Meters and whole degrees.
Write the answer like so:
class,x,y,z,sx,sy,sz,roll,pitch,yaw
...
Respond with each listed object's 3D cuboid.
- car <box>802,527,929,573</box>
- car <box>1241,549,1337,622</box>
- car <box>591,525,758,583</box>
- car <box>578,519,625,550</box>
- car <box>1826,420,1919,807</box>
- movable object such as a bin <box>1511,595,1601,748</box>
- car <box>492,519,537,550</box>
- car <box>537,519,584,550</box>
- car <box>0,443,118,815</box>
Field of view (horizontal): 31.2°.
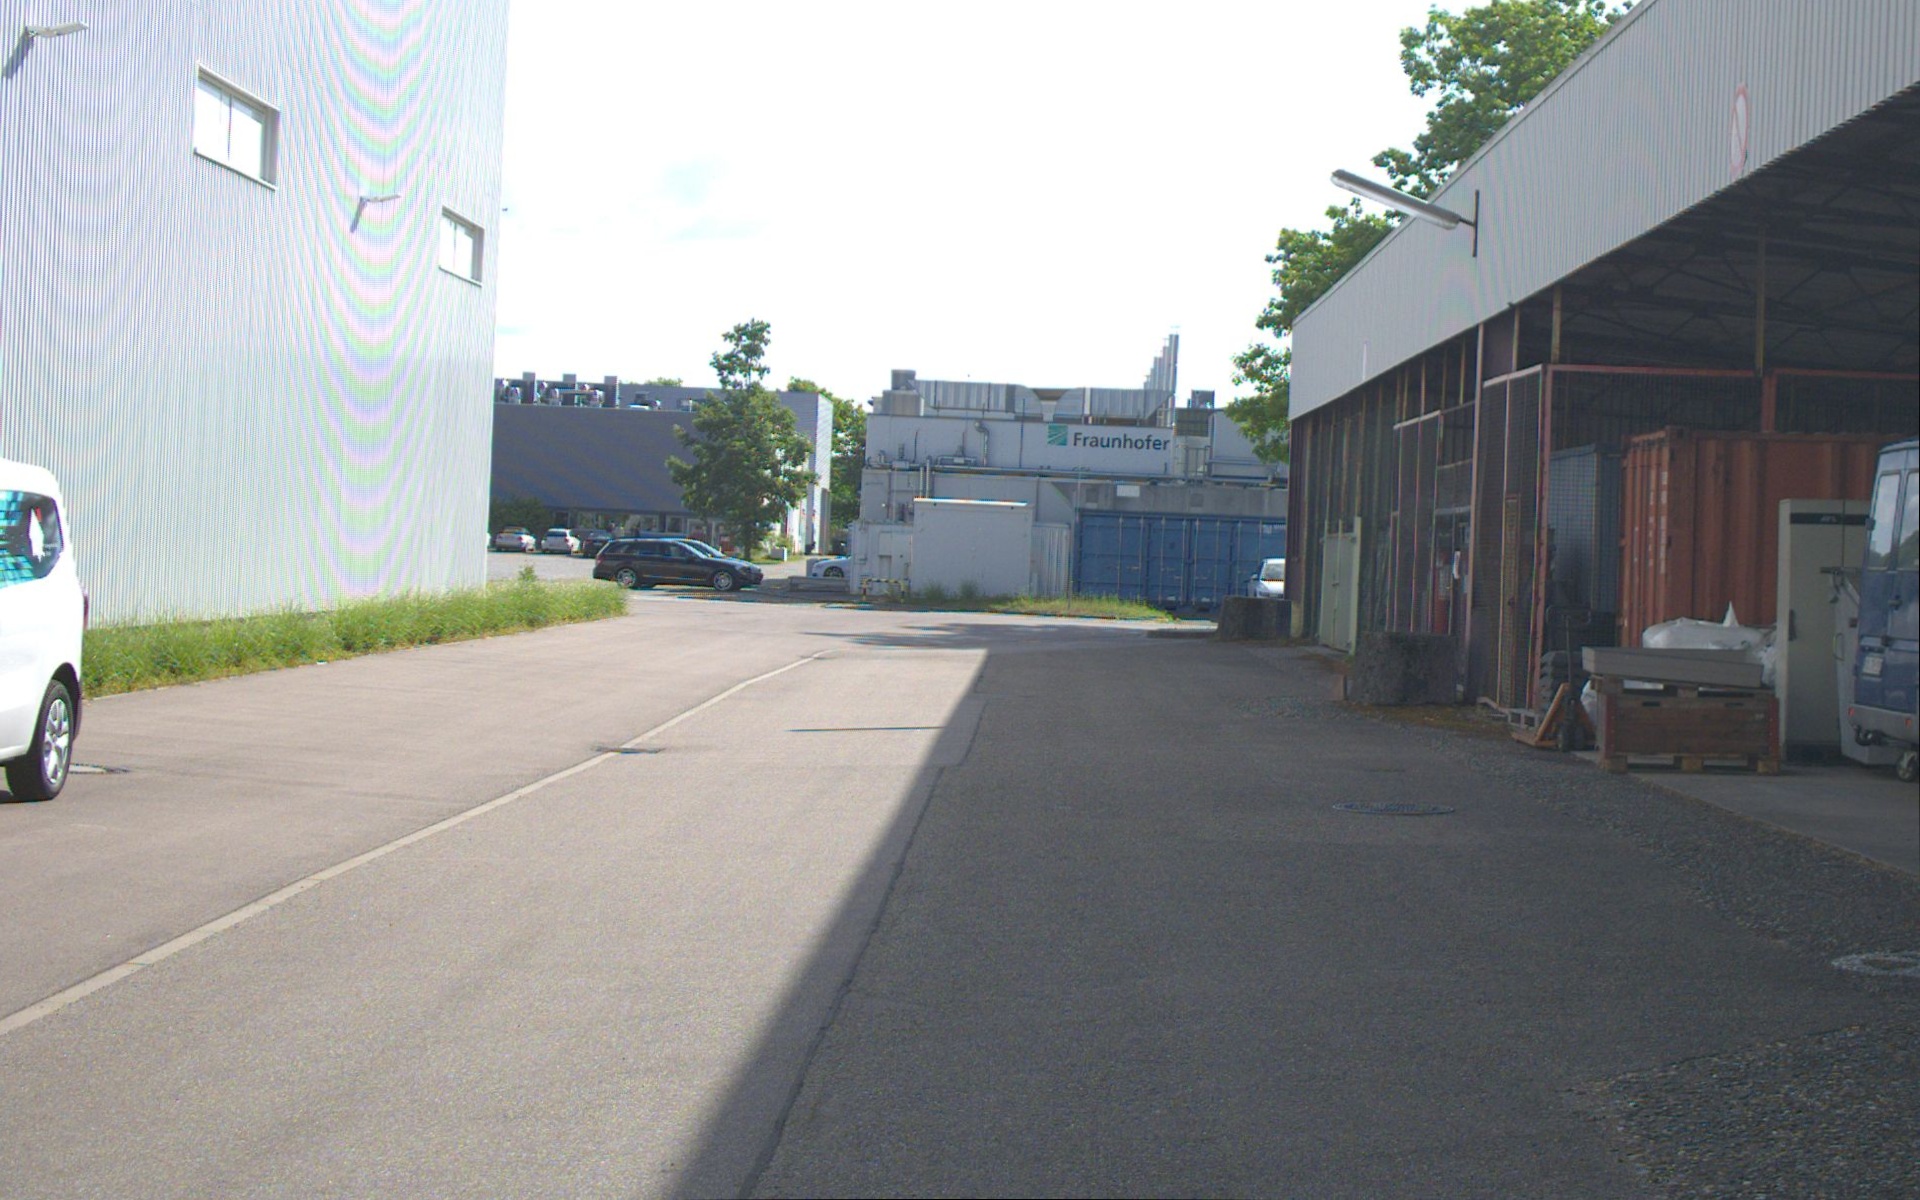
class,x,y,z,sx,sy,sz,roll,pitch,yaw
car,-3.458,-1.853,126.407,4.526,1.503,1.909,2,1,2
car,8.171,-0.385,85.747,1.993,1.580,4.173,2,2,1
car,-8.191,-1.323,98.928,4.526,1.503,1.909,2,1,3
car,-20.299,-3.699,194.680,2.193,1.730,4.000,1,1,1
car,8.194,0.152,21.534,4.979,2.317,2.000,2,1,2
movable object such as a bin,4.728,0.555,27.313,0.582,1.160,1.238,2,1,5
car,-25.413,-3.718,196.182,1.993,1.730,4.000,1,1,1
car,-22.820,-3.718,196.458,2.193,1.730,4.000,1,1,1
car,-5.649,0.084,16.662,1.890,1.839,4.358,4,1,1
